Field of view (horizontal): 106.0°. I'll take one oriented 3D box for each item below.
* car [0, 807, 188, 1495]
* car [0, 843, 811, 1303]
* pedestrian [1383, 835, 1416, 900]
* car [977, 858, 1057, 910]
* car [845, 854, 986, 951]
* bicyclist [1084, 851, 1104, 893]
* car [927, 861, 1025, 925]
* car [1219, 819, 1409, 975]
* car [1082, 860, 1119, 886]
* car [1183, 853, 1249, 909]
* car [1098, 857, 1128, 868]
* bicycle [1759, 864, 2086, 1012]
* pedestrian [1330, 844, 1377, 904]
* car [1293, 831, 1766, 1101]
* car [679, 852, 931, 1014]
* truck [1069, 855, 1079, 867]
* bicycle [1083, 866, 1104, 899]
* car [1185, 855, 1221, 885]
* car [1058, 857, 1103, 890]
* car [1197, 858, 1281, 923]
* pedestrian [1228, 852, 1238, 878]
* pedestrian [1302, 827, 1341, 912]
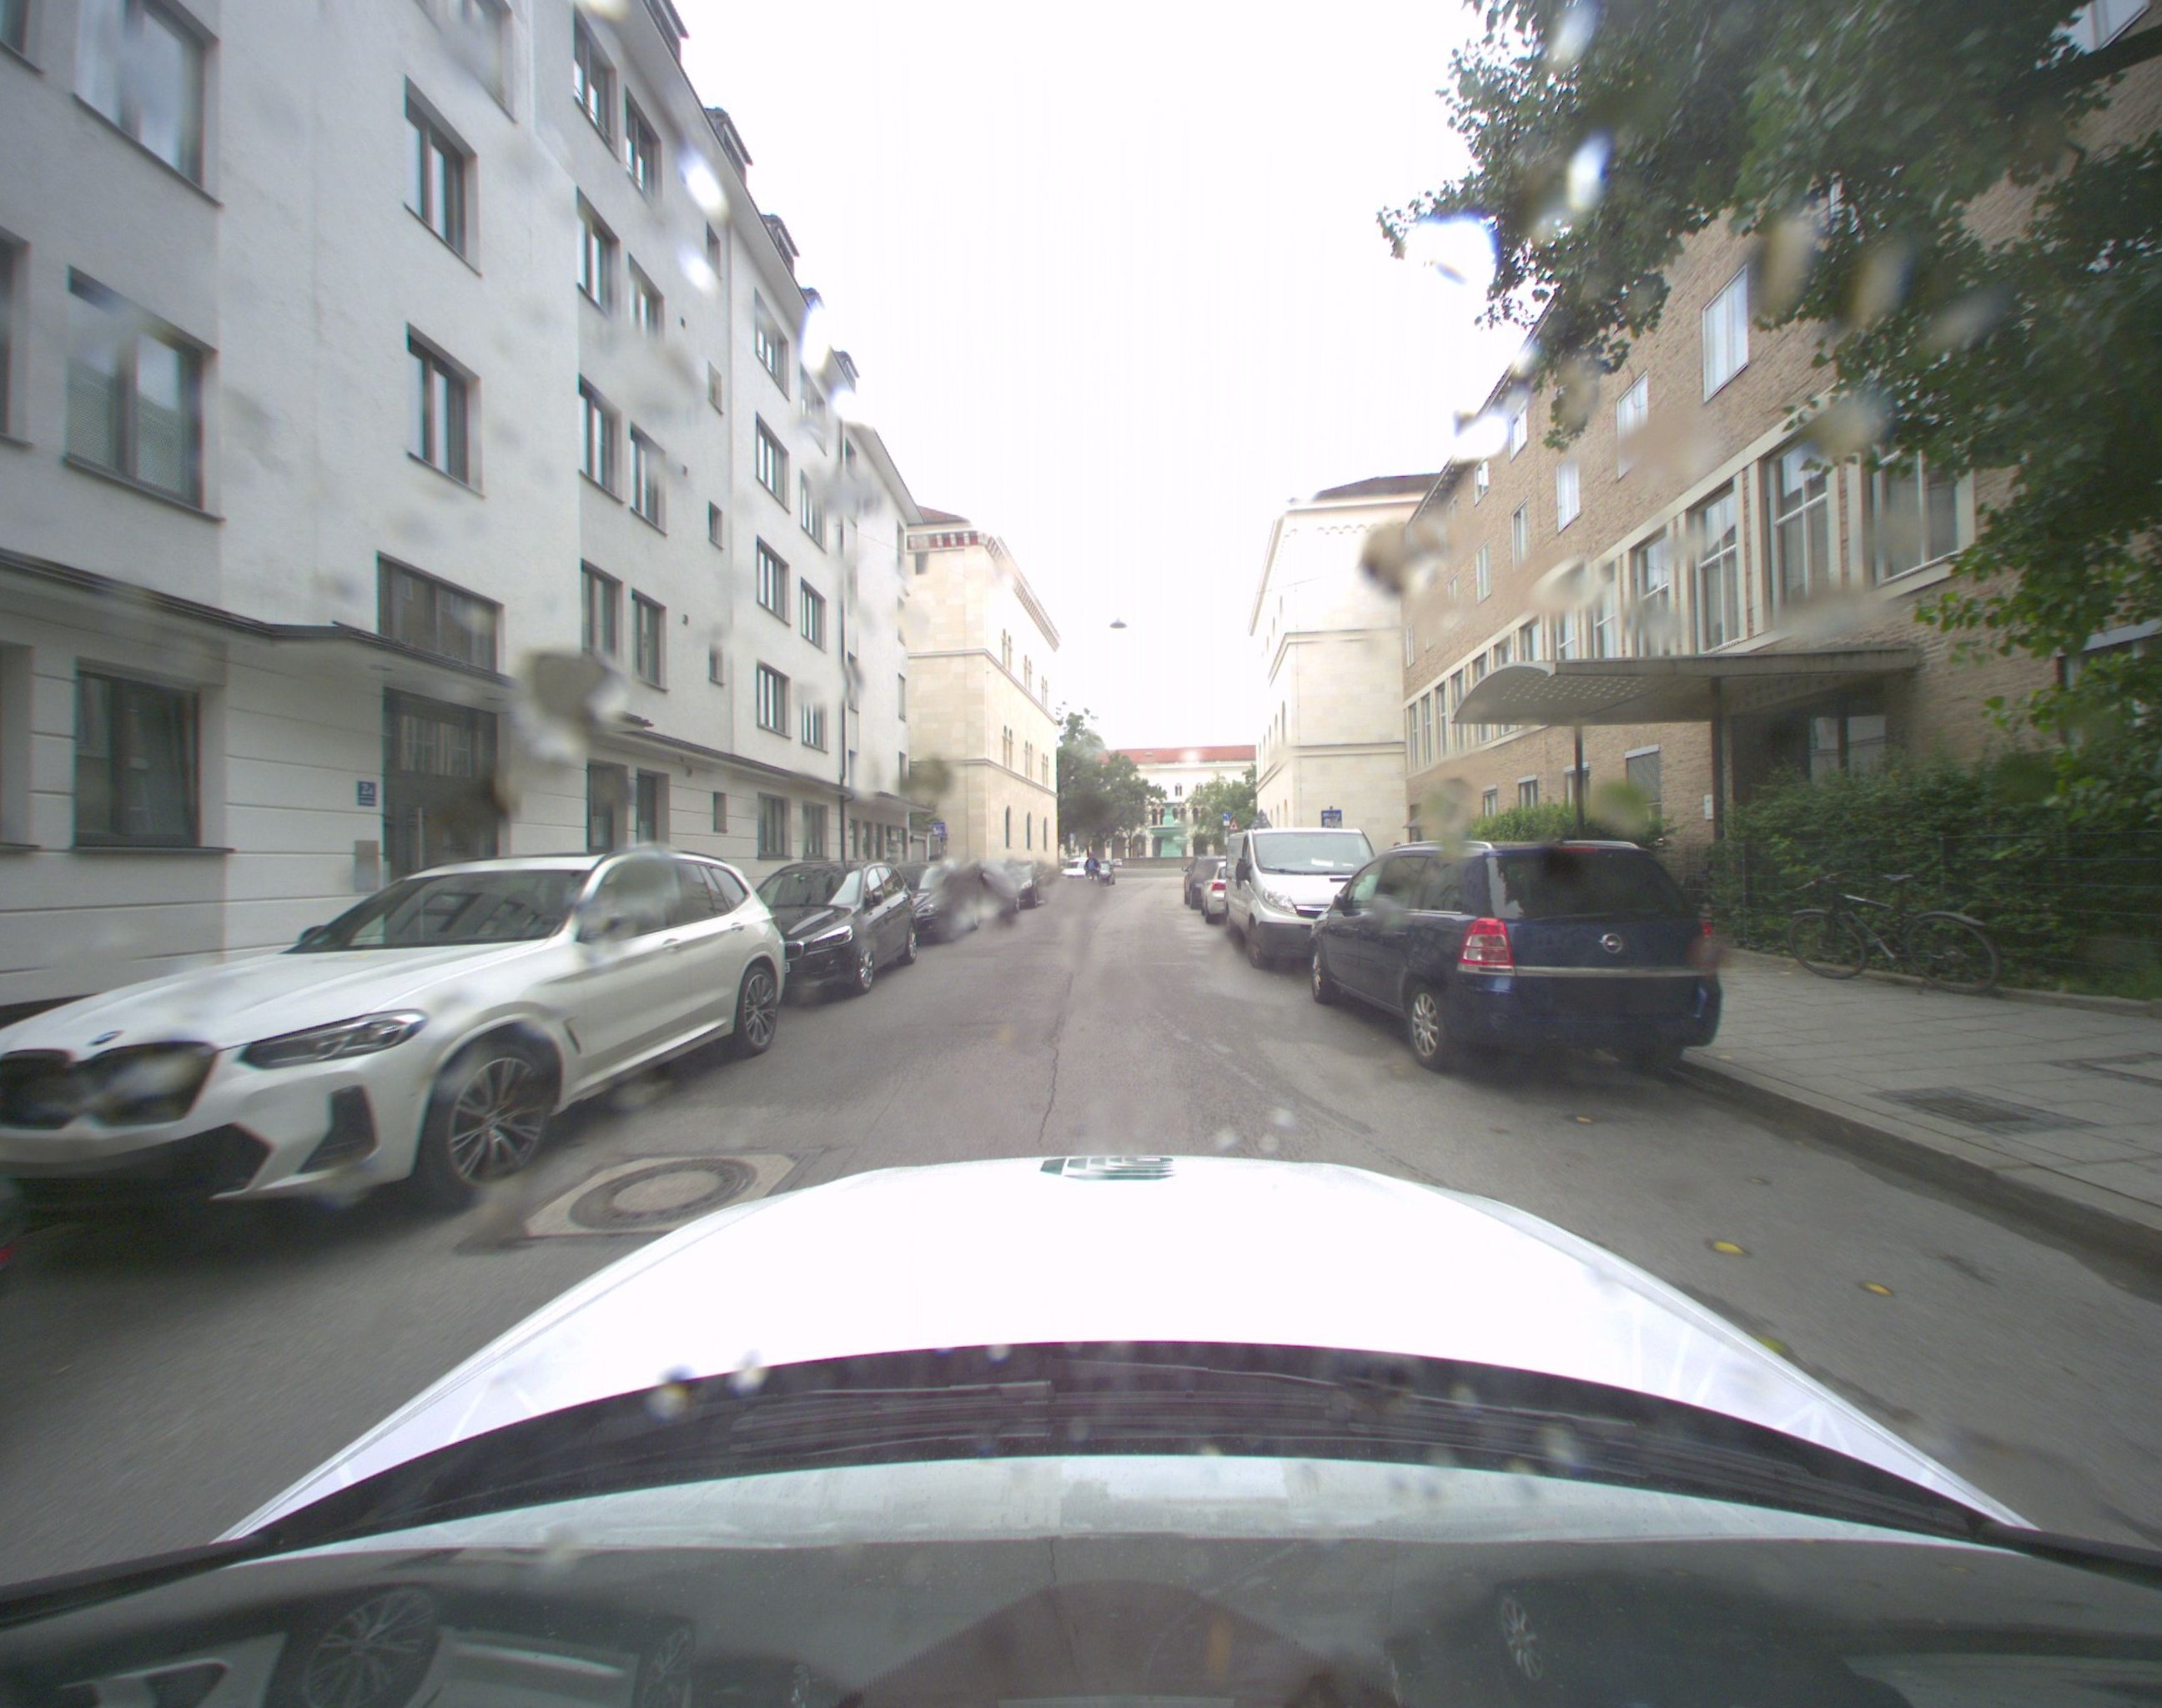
[{"bbox_3d":[-3.673,0.787,0.151,1.865,1.688,4.522,-3,0,2],"label":"car"},{"bbox_3d":[-3.567,0.815,5.347,1.865,1.658,4.592,-3,0,2],"label":"car"},{"bbox_3d":[8.161,0.328,20.915,0.584,1.633,0.879,-1,0,7],"label":"pedestrian"},{"bbox_3d":[-2.047,0.952,27.134,1.741,1.453,4.024,-3,0,8],"label":"car"},{"bbox_3d":[-3.259,0.883,16.904,1.865,1.658,4.082,-3,0,2],"label":"car"},{"bbox_3d":[0.510,0.687,31.290,0.654,1.551,0.889,-2,-1,5],"label":"bicyclist"},{"bbox_3d":[-2.772,0.988,22.401,1.742,1.453,4.022,-3,0,6],"label":"car"},{"bbox_3d":[3.341,0.549,12.696,1.873,1.924,4.880,-1,0,4],"label":"car"},{"bbox_3d":[1.208,1.107,48.648,1.689,1.393,4.221,-3,-1,8],"label":"car"},{"bbox_3d":[4.102,0.782,25.185,1.738,1.594,3.962,-1,0,5],"label":"car"},{"bbox_3d":[4.423,1.215,111.177,3.967,1.376,2.003,-2,0,6],"label":"car"},{"bbox_3d":[7.299,0.650,7.281,0.667,1.073,2.225,-2,0,2],"label":"bicycle"},{"bbox_3d":[7.292,0.532,21.786,0.951,1.547,0.671,-1,0,-14],"label":"pedestrian"},{"bbox_3d":[3.270,0.681,7.050,1.801,1.600,4.215,-1,0,1],"label":"car"},{"bbox_3d":[-3.443,0.861,11.234,1.866,1.658,4.589,-3,0,-1],"label":"car"},{"bbox_3d":[-1.439,1.384,167.063,1.989,2.489,3.995,-1,0,-3],"label":"truck"},{"bbox_3d":[0.504,1.078,31.291,0.645,1.197,1.953,-2,-1,5],"label":"bicycle"},{"bbox_3d":[6.401,0.826,42.844,1.779,1.476,4.323,0,0,8],"label":"car"},{"bbox_3d":[0.035,1.004,42.339,1.769,1.535,4.219,-3,-1,7],"label":"car"},{"bbox_3d":[3.788,0.816,20.067,1.665,1.417,4.208,-1,0,6],"label":"car"},{"bbox_3d":[10.645,0.770,56.974,0.637,1.808,0.491,-1,0,13],"label":"pedestrian"},{"bbox_3d":[6.325,0.396,21.426,0.790,2.197,0.814,-1,0,2],"label":"pedestrian"}]
